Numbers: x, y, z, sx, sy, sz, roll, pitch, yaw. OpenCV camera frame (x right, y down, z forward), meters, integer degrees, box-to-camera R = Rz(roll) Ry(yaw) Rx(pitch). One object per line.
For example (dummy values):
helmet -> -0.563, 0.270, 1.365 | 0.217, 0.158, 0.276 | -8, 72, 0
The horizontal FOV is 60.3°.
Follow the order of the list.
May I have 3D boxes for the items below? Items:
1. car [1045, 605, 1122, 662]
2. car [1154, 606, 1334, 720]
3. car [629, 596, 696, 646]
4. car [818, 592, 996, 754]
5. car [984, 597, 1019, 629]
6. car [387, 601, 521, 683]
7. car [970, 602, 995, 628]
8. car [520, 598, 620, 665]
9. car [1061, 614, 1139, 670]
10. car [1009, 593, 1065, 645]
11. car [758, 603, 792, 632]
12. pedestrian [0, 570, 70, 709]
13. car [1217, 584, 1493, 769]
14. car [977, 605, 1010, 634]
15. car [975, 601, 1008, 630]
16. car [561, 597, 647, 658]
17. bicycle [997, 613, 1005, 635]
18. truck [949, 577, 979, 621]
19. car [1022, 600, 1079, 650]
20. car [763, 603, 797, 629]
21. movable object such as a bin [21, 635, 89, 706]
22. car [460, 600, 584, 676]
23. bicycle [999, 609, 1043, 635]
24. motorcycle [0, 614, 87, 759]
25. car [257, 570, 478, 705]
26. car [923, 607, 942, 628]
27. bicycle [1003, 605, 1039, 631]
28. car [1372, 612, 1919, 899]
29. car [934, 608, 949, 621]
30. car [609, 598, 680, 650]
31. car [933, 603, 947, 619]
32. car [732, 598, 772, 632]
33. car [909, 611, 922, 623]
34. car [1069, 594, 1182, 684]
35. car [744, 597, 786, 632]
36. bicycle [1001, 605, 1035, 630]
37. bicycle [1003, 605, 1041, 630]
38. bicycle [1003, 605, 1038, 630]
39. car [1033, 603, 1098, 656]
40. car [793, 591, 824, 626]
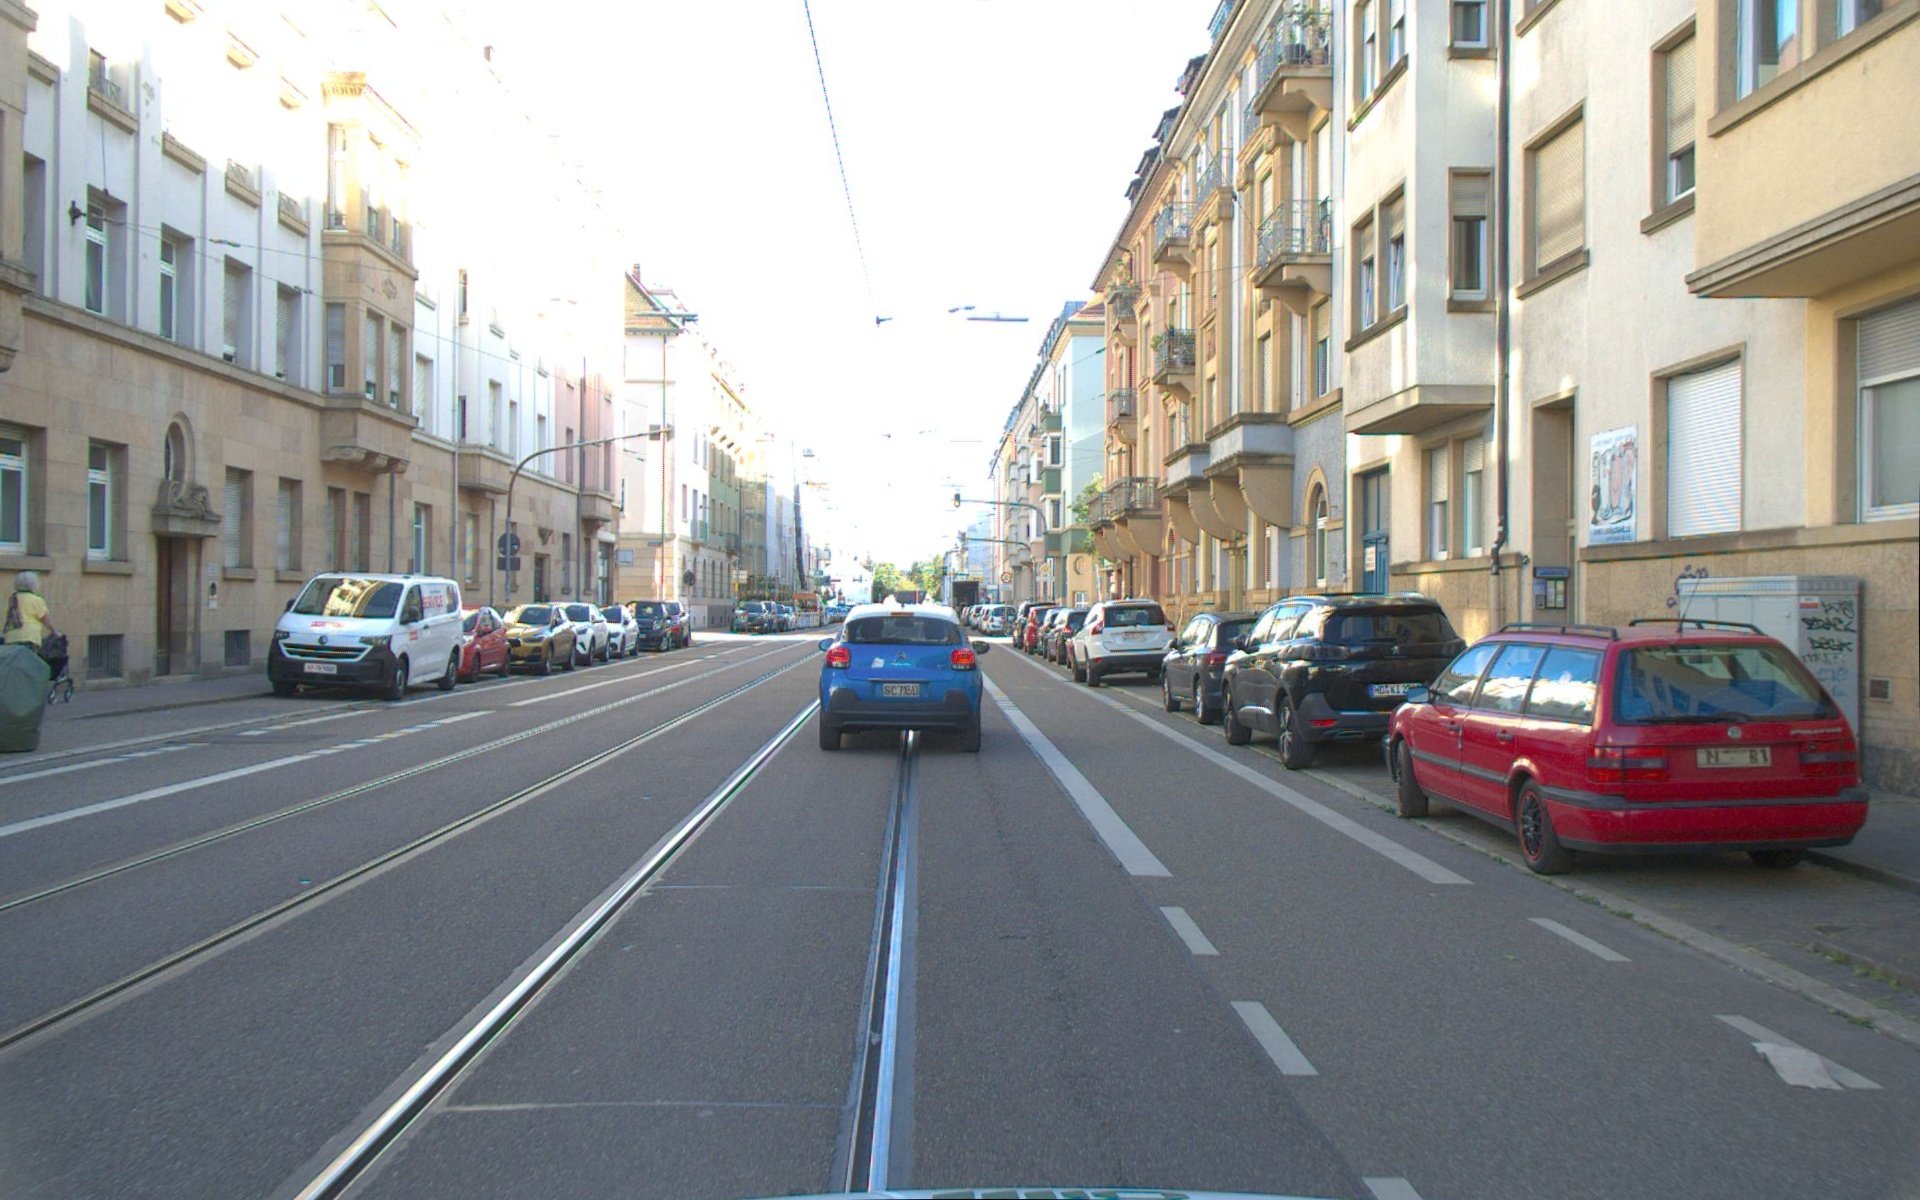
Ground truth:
car -> 3.347, 0.889, 45.647 | 1.621, 1.509, 4.472 | 0, 0, -2
car -> 3.907, 0.824, 23.370 | 1.702, 1.467, 4.031 | 0, 0, -2
car -> -10.406, 0.704, 58.051 | 1.748, 1.634, 4.394 | 2, 0, -3
car -> -0.553, 0.723, 18.265 | 1.700, 1.534, 3.991 | 2, 0, -1
car -> 2.223, 0.680, 89.106 | 1.747, 1.660, 3.999 | 0, 0, -1
car -> -10.024, 0.799, 33.030 | 1.570, 1.498, 3.645 | 2, 0, -1
car -> 1.587, 1.055, 118.094 | 1.695, 1.859, 4.685 | 0, 0, -1
car -> -10.046, 0.782, 42.895 | 1.736, 1.574, 4.363 | 2, 0, -3
car -> 3.398, 0.986, 40.690 | 1.620, 1.271, 4.505 | 0, 0, 1
car -> 2.848, 0.704, 61.993 | 1.718, 1.766, 4.505 | -3, 0, -1
car -> -11.190, 1.022, 100.335 | 1.748, 1.655, 4.606 | 2, 0, -3
pedestrian -> -11.978, 0.505, 21.301 | 0.666, 1.754, 0.616 | 1, 0, -1
car -> 3.986, 0.708, 17.471 | 1.821, 1.695, 4.561 | 0, 0, 0
car -> 1.887, 1.107, 94.858 | 1.747, 1.603, 4.325 | 0, 0, -1
car -> 1.989, 0.974, 105.718 | 1.623, 1.782, 4.597 | 0, 0, -6
car -> -10.293, 0.770, 48.050 | 1.748, 1.650, 4.176 | 2, 0, -3
bicycle -> 2.077, 1.223, 84.067 | 0.345, 1.063, 1.728 | 0, 0, 0
truck -> 0.379, -0.051, 159.902 | 2.795, 4.154, 11.269 | 0, 0, 0
car -> 3.001, 0.828, 55.467 | 1.717, 1.622, 3.729 | 0, 0, 0
car -> -11.532, 1.012, 106.106 | 1.683, 1.529, 4.387 | 2, 0, 0
movable object such as a bin -> -11.995, 0.929, 21.926 | 0.600, 0.916, 0.518 | 1, 0, -1
car -> -9.801, 0.809, 37.327 | 1.747, 1.550, 4.358 | 2, 0, -2
bicycle -> 2.987, 1.086, 81.186 | 2.044, 1.174, 0.848 | -3, 0, -1
motorcycle -> -9.659, 0.831, 16.018 | 0.867, 1.375, 1.953 | 1, 0, 31
car -> -9.756, 0.572, 27.732 | 1.933, 1.983, 5.249 | 2, 0, -2
car -> -2.689, 1.665, 159.803 | 1.784, 1.927, 3.999 | 1, 0, -1
bicycle -> 3.067, 0.893, 83.126 | 1.688, 1.174, 0.469 | -3, 0, -1
car -> 4.241, 0.834, 11.028 | 1.821, 1.481, 4.709 | 0, 0, 0
car -> -2.204, 1.711, 192.978 | 1.729, 1.513, 4.030 | 0, 0, -1
car -> -10.219, 0.753, 53.779 | 1.747, 1.580, 3.018 | 2, 0, -1
car -> -3.073, 1.652, 252.091 | 2.175, 2.324, 4.082 | 0, 0, -1
car -> -11.129, 0.799, 88.771 | 1.748, 1.720, 4.664 | 2, 0, -3
car -> -6.638, 2.531, 246.626 | 1.789, 1.660, 4.489 | 0, 0, -1
car -> 3.346, 0.758, 34.157 | 1.805, 1.720, 4.503 | 0, 0, -1
car -> -10.888, 0.826, 92.575 | 1.747, 1.848, 4.527 | 2, 0, 0
bicycle -> 2.987, 0.904, 85.791 | 1.688, 1.174, 0.469 | -3, 0, -1
bicycle -> 3.077, 0.864, 81.889 | 1.805, 1.174, 0.469 | -3, 0, -1
bicycle -> 3.038, 0.894, 83.673 | 1.688, 1.174, 0.469 | -3, 0, -1
car -> 3.200, 0.880, 50.709 | 1.621, 1.539, 4.473 | 0, 0, -1
car -> -11.338, 0.637, 123.866 | 2.102, 2.519, 4.977 | 1, 0, -3
